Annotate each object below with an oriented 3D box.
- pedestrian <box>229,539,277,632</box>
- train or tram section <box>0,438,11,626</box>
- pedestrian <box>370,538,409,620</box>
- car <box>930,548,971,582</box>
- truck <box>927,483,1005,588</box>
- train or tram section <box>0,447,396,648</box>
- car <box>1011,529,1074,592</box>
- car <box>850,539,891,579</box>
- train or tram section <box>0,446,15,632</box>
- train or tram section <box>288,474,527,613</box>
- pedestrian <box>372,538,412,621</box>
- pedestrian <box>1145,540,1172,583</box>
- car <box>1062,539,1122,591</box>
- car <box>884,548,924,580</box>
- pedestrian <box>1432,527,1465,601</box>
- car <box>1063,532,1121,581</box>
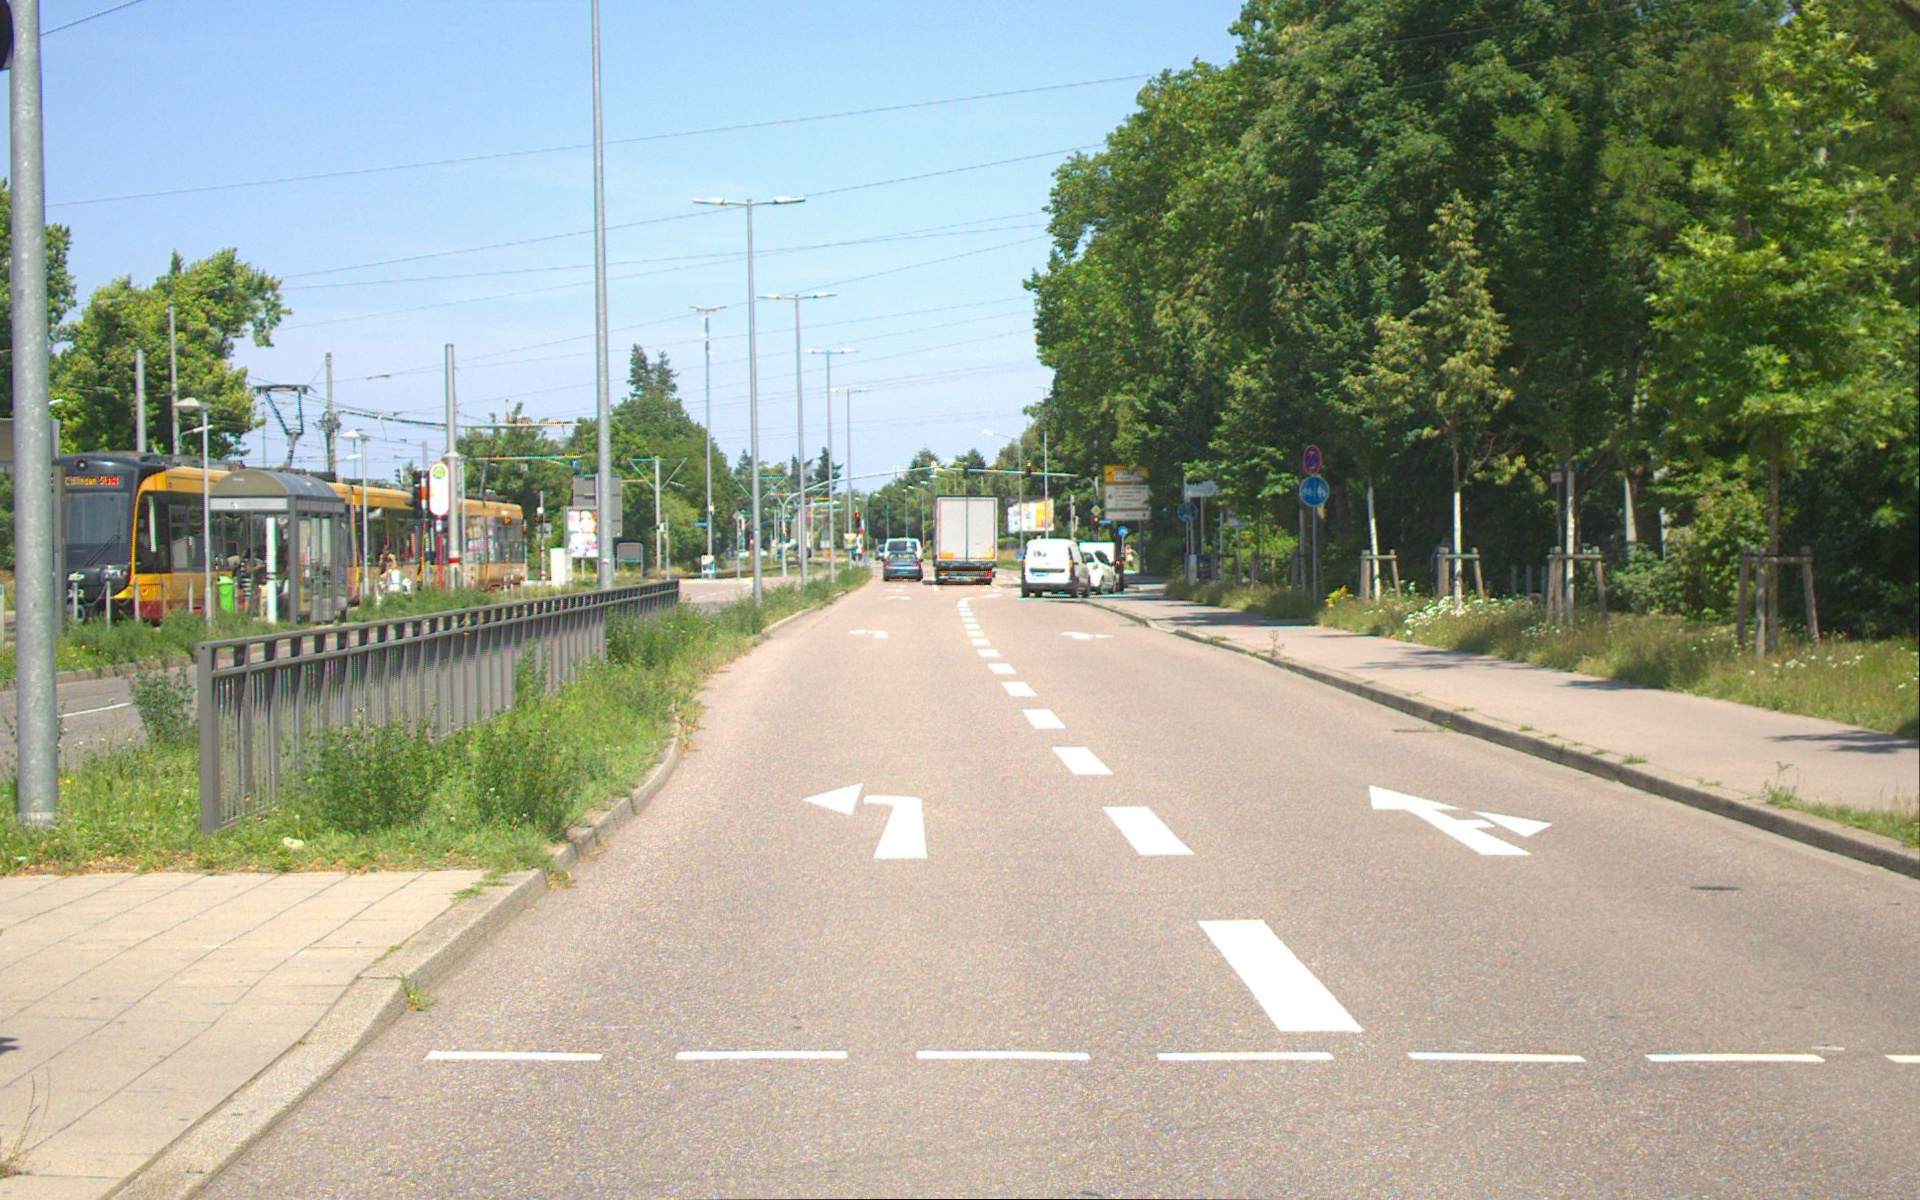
[{"bbox_3d":[-14.258,-0.305,69.309,0.785,1.862,0.817,0,1,-1],"label":"pedestrian"},{"bbox_3d":[-20.417,-1.277,63.641,3.215,3.918,18.505,-1,1,-8],"label":"train or tram section"},{"bbox_3d":[-14.095,-0.528,84.954,0.815,2.007,0.938,0,1,-1],"label":"pedestrian"},{"bbox_3d":[-0.432,-1.565,153.623,1.811,1.459,4.000,0,1,-1],"label":"car"},{"bbox_3d":[0.214,-2.726,146.058,3.205,4.344,6.561,0,1,-1],"label":"truck"},{"bbox_3d":[-16.686,-1.246,79.140,2.957,3.736,30.035,0,1,-1],"label":"train or tram section"},{"bbox_3d":[2.509,-1.227,105.521,1.779,1.897,4.000,0,1,-1],"label":"car"},{"bbox_3d":[-4.551,-2.084,175.172,1.993,2.007,4.000,0,1,-1],"label":"car"},{"bbox_3d":[-26.248,-1.376,80.016,3.215,3.918,18.501,-1,1,-31],"label":"train or tram section"},{"bbox_3d":[-17.211,-1.836,110.679,2.931,3.776,33.090,0,1,-1],"label":"train or tram section"},{"bbox_3d":[-13.817,-0.512,83.661,0.815,2.007,0.938,0,1,-1],"label":"pedestrian"},{"bbox_3d":[9.429,-1.838,163.119,1.185,2.007,1.214,0,1,0],"label":"pedestrian"},{"bbox_3d":[4.298,-1.156,112.451,1.779,1.663,4.000,0,1,-1],"label":"car"},{"bbox_3d":[-2.556,-1.659,157.891,1.811,1.459,4.000,0,1,-1],"label":"car"},{"bbox_3d":[9.576,-0.710,67.410,0.604,1.433,0.556,0,1,6],"label":"pedestrian"},{"bbox_3d":[4.548,-1.521,118.794,1.779,1.663,4.000,0,1,-1],"label":"car"}]
